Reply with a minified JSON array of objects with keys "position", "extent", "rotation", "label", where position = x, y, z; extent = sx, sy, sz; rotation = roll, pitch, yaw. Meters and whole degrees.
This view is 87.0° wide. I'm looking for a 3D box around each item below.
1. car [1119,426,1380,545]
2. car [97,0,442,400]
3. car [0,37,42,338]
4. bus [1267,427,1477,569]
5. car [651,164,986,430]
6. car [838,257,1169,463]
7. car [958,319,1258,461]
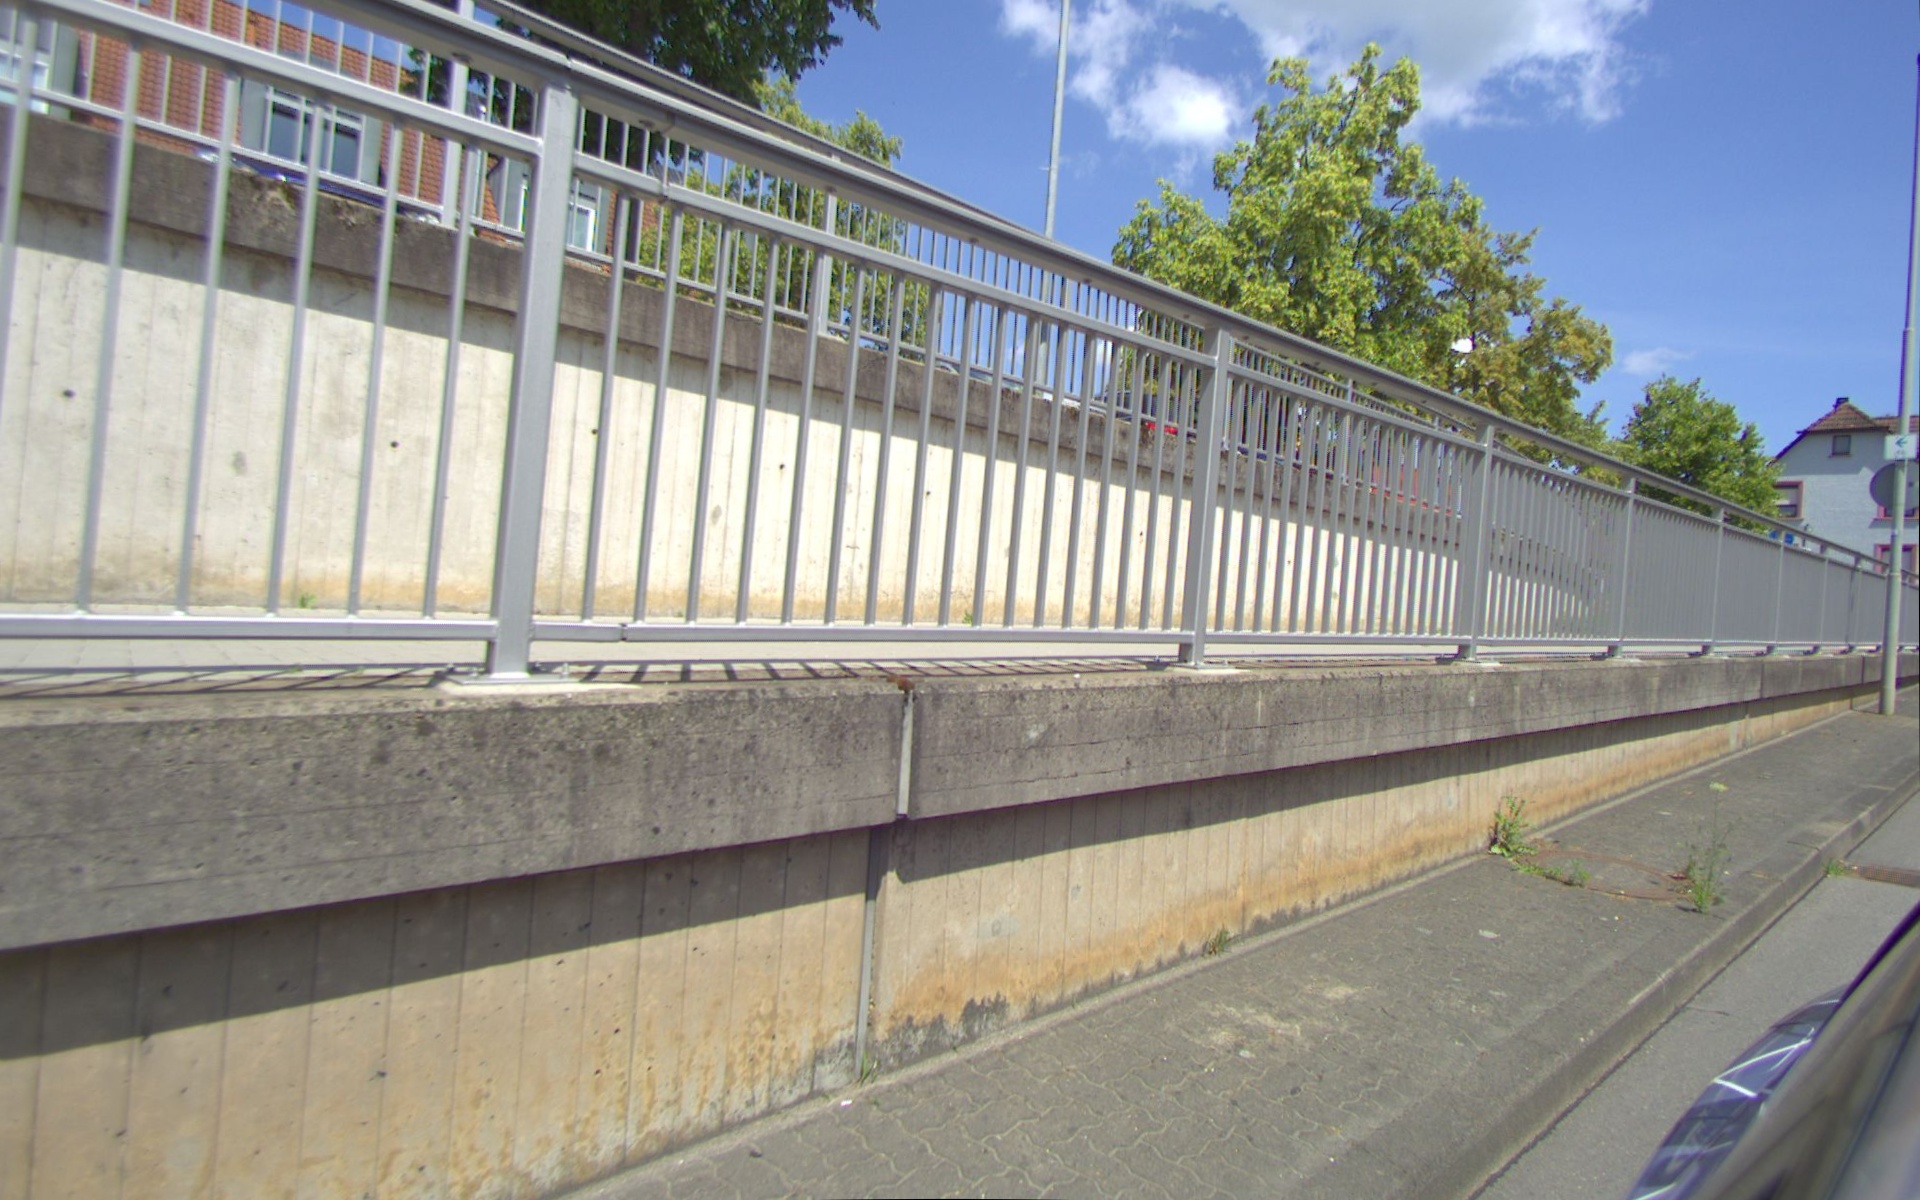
[{"position":[4.940,-1.864,17.563],"extent":[3.983,1.650,1.836],"rotation":[1,0,41],"label":"car"},{"position":[-5.270,-2.685,7.681],"extent":[1.693,1.575,3.998],"rotation":[1,1,-37],"label":"car"},{"position":[-7.263,-2.970,6.469],"extent":[1.693,1.575,3.998],"rotation":[1,1,-37],"label":"car"},{"position":[9.436,-2.167,22.935],"extent":[5.270,2.396,2.193],"rotation":[5,-1,-42],"label":"bus"},{"position":[-1.646,-2.866,10.518],"extent":[1.693,1.575,3.998],"rotation":[1,1,-37],"label":"car"},{"position":[0.340,-2.626,11.960],"extent":[1.692,1.446,3.998],"rotation":[4,-1,-37],"label":"car"},{"position":[1.925,-2.800,14.201],"extent":[1.741,1.323,3.997],"rotation":[2,2,-39],"label":"car"}]
